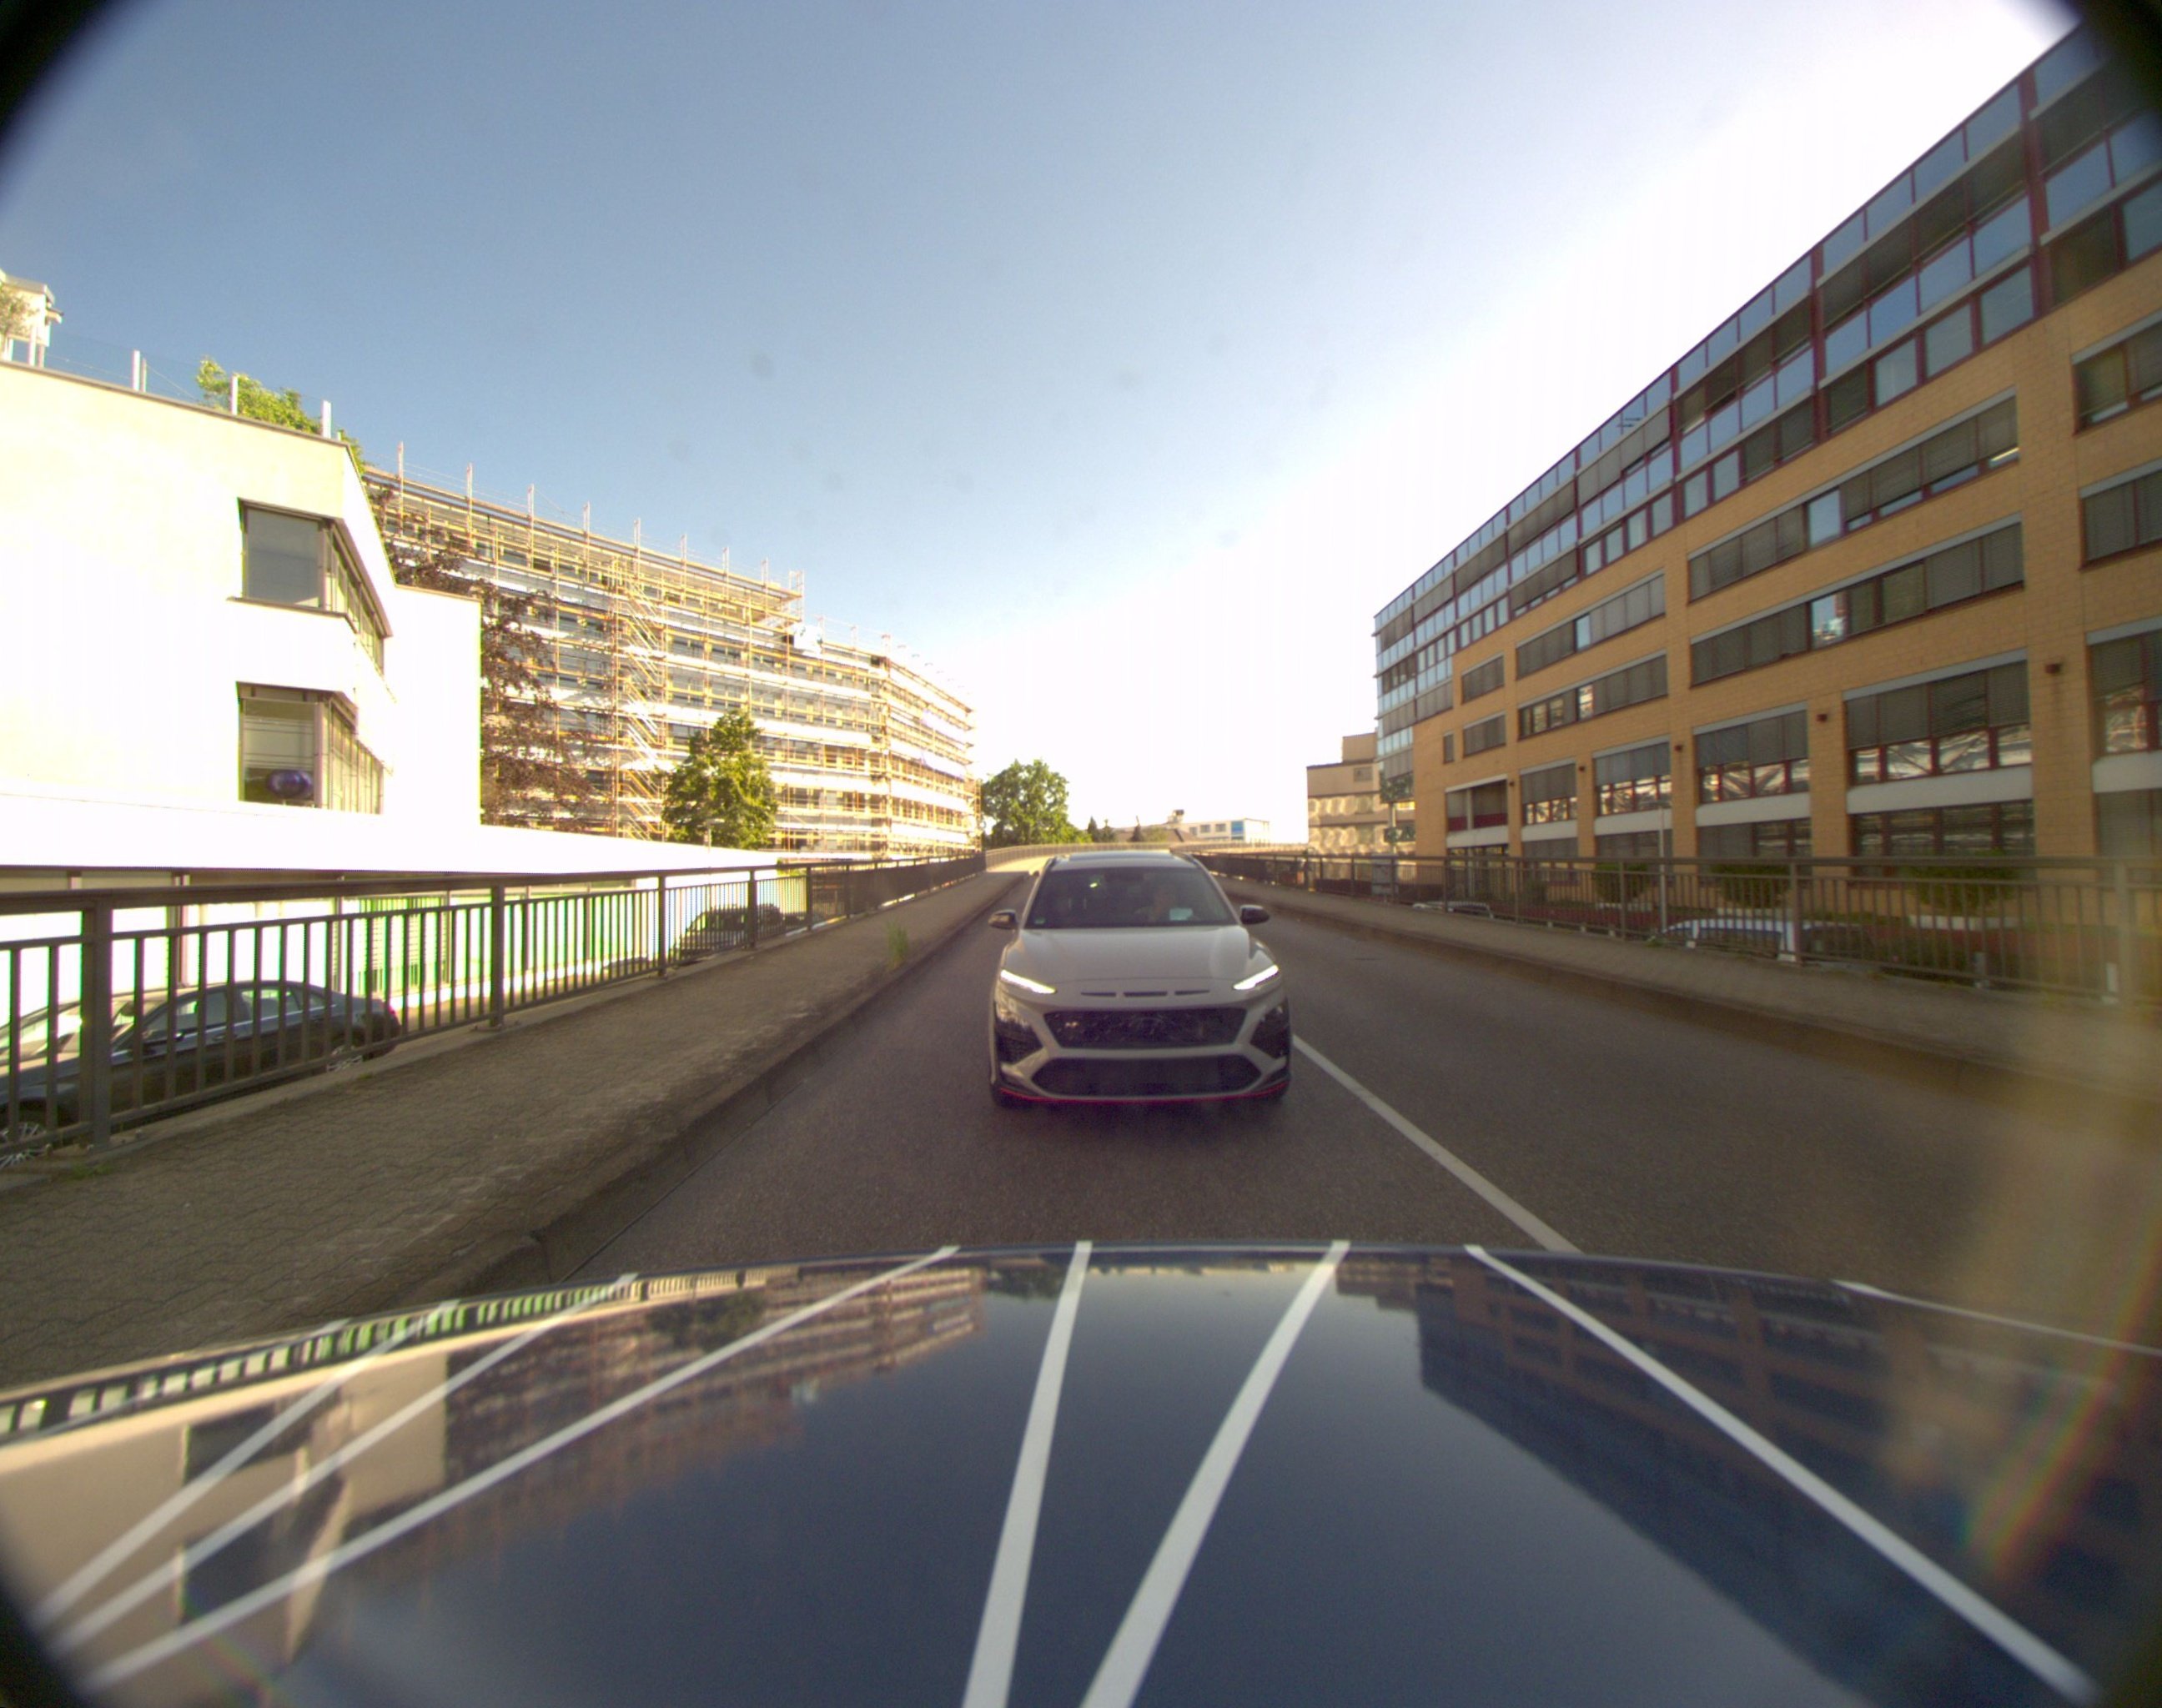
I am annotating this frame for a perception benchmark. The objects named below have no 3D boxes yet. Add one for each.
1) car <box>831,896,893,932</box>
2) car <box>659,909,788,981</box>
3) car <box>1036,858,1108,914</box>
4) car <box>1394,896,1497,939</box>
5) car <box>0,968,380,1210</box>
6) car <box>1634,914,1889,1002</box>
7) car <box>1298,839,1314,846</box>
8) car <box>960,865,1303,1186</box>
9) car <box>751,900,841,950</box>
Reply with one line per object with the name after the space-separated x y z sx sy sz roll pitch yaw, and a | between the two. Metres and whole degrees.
-10.216 2.775 35.678 1.726 1.383 4.000 -2 -1 -1 | car
-9.912 2.473 21.430 1.726 1.513 4.000 -2 -1 -1 | car
-0.283 0.855 22.148 1.902 1.433 4.126 0 0 -1 | car
12.738 2.190 26.831 1.766 1.261 3.809 0 -1 -1 | car
-9.601 2.168 7.419 1.726 1.513 4.001 -2 -1 1 | car
13.045 1.935 14.923 1.580 1.261 3.809 0 -1 -1 | car
47.751 -2.432 161.070 1.947 1.456 4.008 5 3 34 | car
0.284 0.905 5.894 1.749 1.637 4.001 0 -1 1 | car
-10.093 2.480 27.218 1.726 1.383 4.000 -2 -1 -1 | car
